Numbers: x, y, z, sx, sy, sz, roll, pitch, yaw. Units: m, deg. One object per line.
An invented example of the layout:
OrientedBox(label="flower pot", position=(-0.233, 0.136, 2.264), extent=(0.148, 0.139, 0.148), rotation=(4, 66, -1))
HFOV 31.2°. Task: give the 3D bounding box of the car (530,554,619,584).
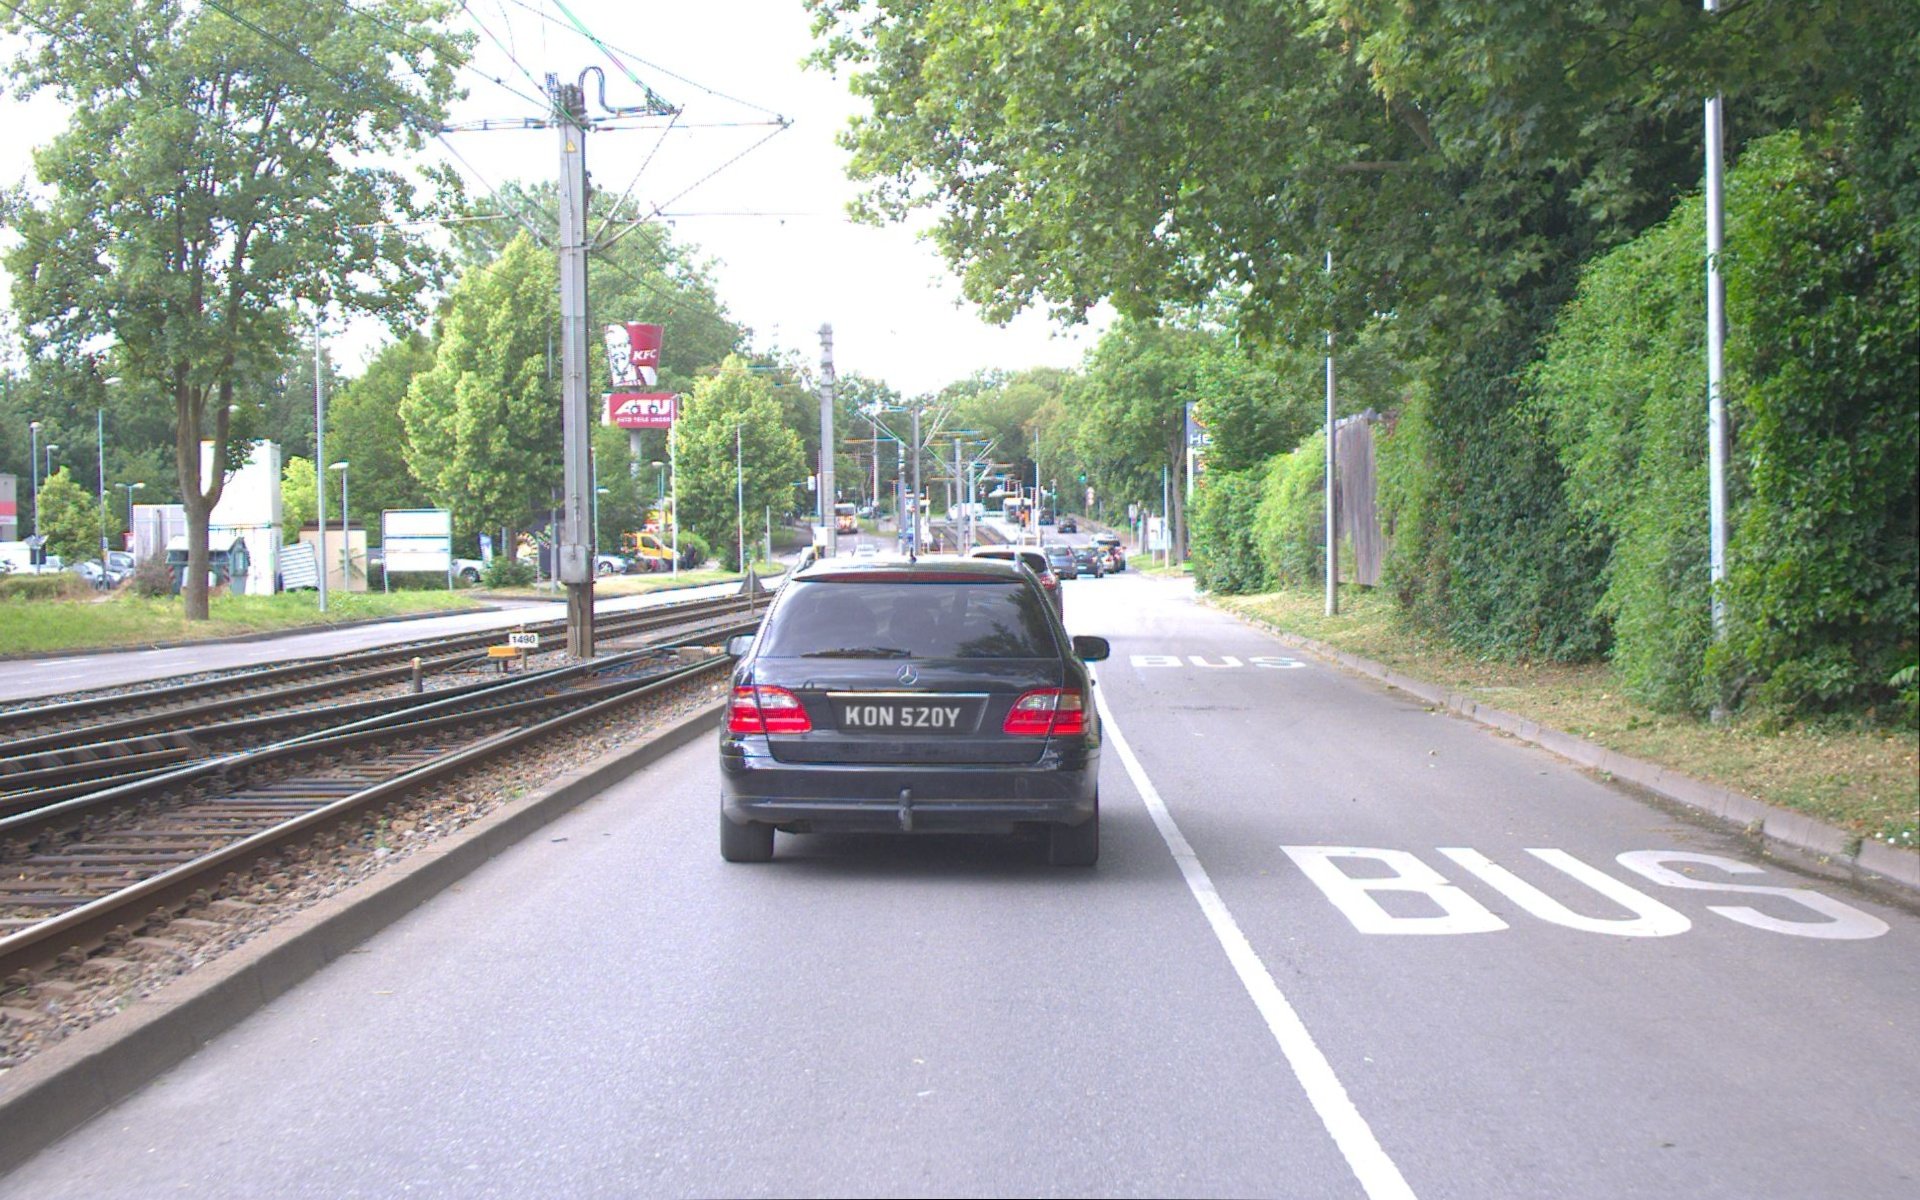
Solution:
OrientedBox(label="car", position=(-19.404, -1.548, 173.158), extent=(4.306, 1.467, 1.680), rotation=(-1, 1, 0))

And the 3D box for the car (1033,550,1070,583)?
OrientedBox(label="car", position=(3.996, -1.449, 149.938), extent=(1.571, 1.410, 3.354), rotation=(1, 0, 2))

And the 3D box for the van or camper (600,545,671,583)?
OrientedBox(label="van or camper", position=(-18.809, -2.103, 199.591), extent=(3.986, 2.127, 1.878), rotation=(1, 1, -2))

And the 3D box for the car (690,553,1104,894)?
OrientedBox(label="car", position=(-0.213, 0.515, 17.022), extent=(1.808, 1.469, 3.881), rotation=(1, 1, 2))

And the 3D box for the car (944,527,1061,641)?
OrientedBox(label="car", position=(0.713, -0.255, 55.734), extent=(1.780, 1.744, 3.718), rotation=(1, 0, 2))

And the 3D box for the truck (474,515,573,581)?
OrientedBox(label="truck", position=(-19.110, -2.273, 150.572), extent=(3.987, 2.812, 2.376), rotation=(-1, 1, 0))
